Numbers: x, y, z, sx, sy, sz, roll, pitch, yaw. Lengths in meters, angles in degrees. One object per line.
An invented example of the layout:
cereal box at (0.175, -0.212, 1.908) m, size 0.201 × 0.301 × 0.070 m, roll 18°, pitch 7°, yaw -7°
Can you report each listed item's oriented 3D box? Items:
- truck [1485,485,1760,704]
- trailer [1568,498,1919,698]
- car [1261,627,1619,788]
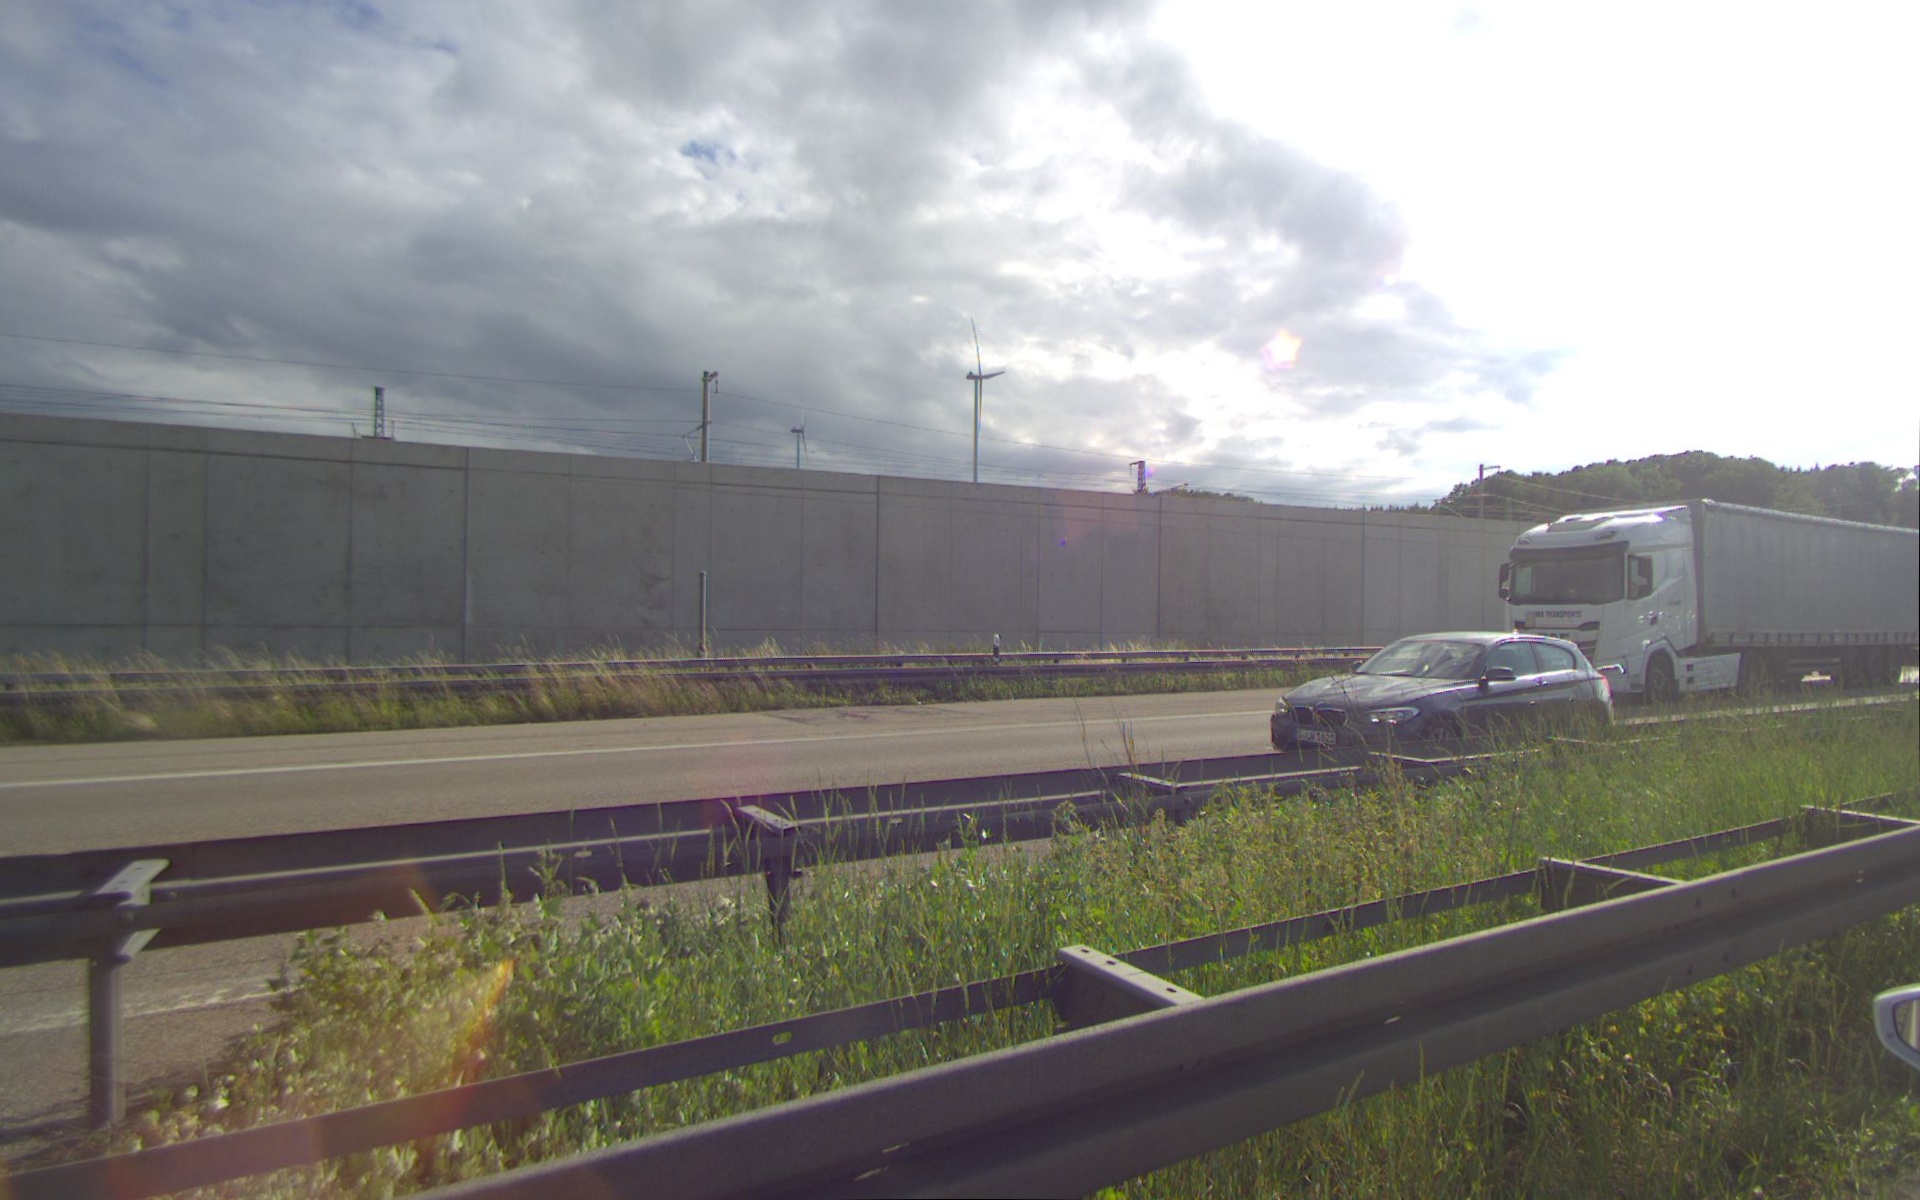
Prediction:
truck at (14.266, -0.036, 21.568) m, size 5.811 × 4.122 × 2.672 m, roll 1°, pitch -1°, yaw -31°
trailer at (20.342, 0.106, 25.243) m, size 13.633 × 4.091 × 2.670 m, roll 1°, pitch -1°, yaw -31°
car at (5.200, 1.023, 10.770) m, size 3.852 × 1.419 × 1.625 m, roll 1°, pitch -1°, yaw -31°
